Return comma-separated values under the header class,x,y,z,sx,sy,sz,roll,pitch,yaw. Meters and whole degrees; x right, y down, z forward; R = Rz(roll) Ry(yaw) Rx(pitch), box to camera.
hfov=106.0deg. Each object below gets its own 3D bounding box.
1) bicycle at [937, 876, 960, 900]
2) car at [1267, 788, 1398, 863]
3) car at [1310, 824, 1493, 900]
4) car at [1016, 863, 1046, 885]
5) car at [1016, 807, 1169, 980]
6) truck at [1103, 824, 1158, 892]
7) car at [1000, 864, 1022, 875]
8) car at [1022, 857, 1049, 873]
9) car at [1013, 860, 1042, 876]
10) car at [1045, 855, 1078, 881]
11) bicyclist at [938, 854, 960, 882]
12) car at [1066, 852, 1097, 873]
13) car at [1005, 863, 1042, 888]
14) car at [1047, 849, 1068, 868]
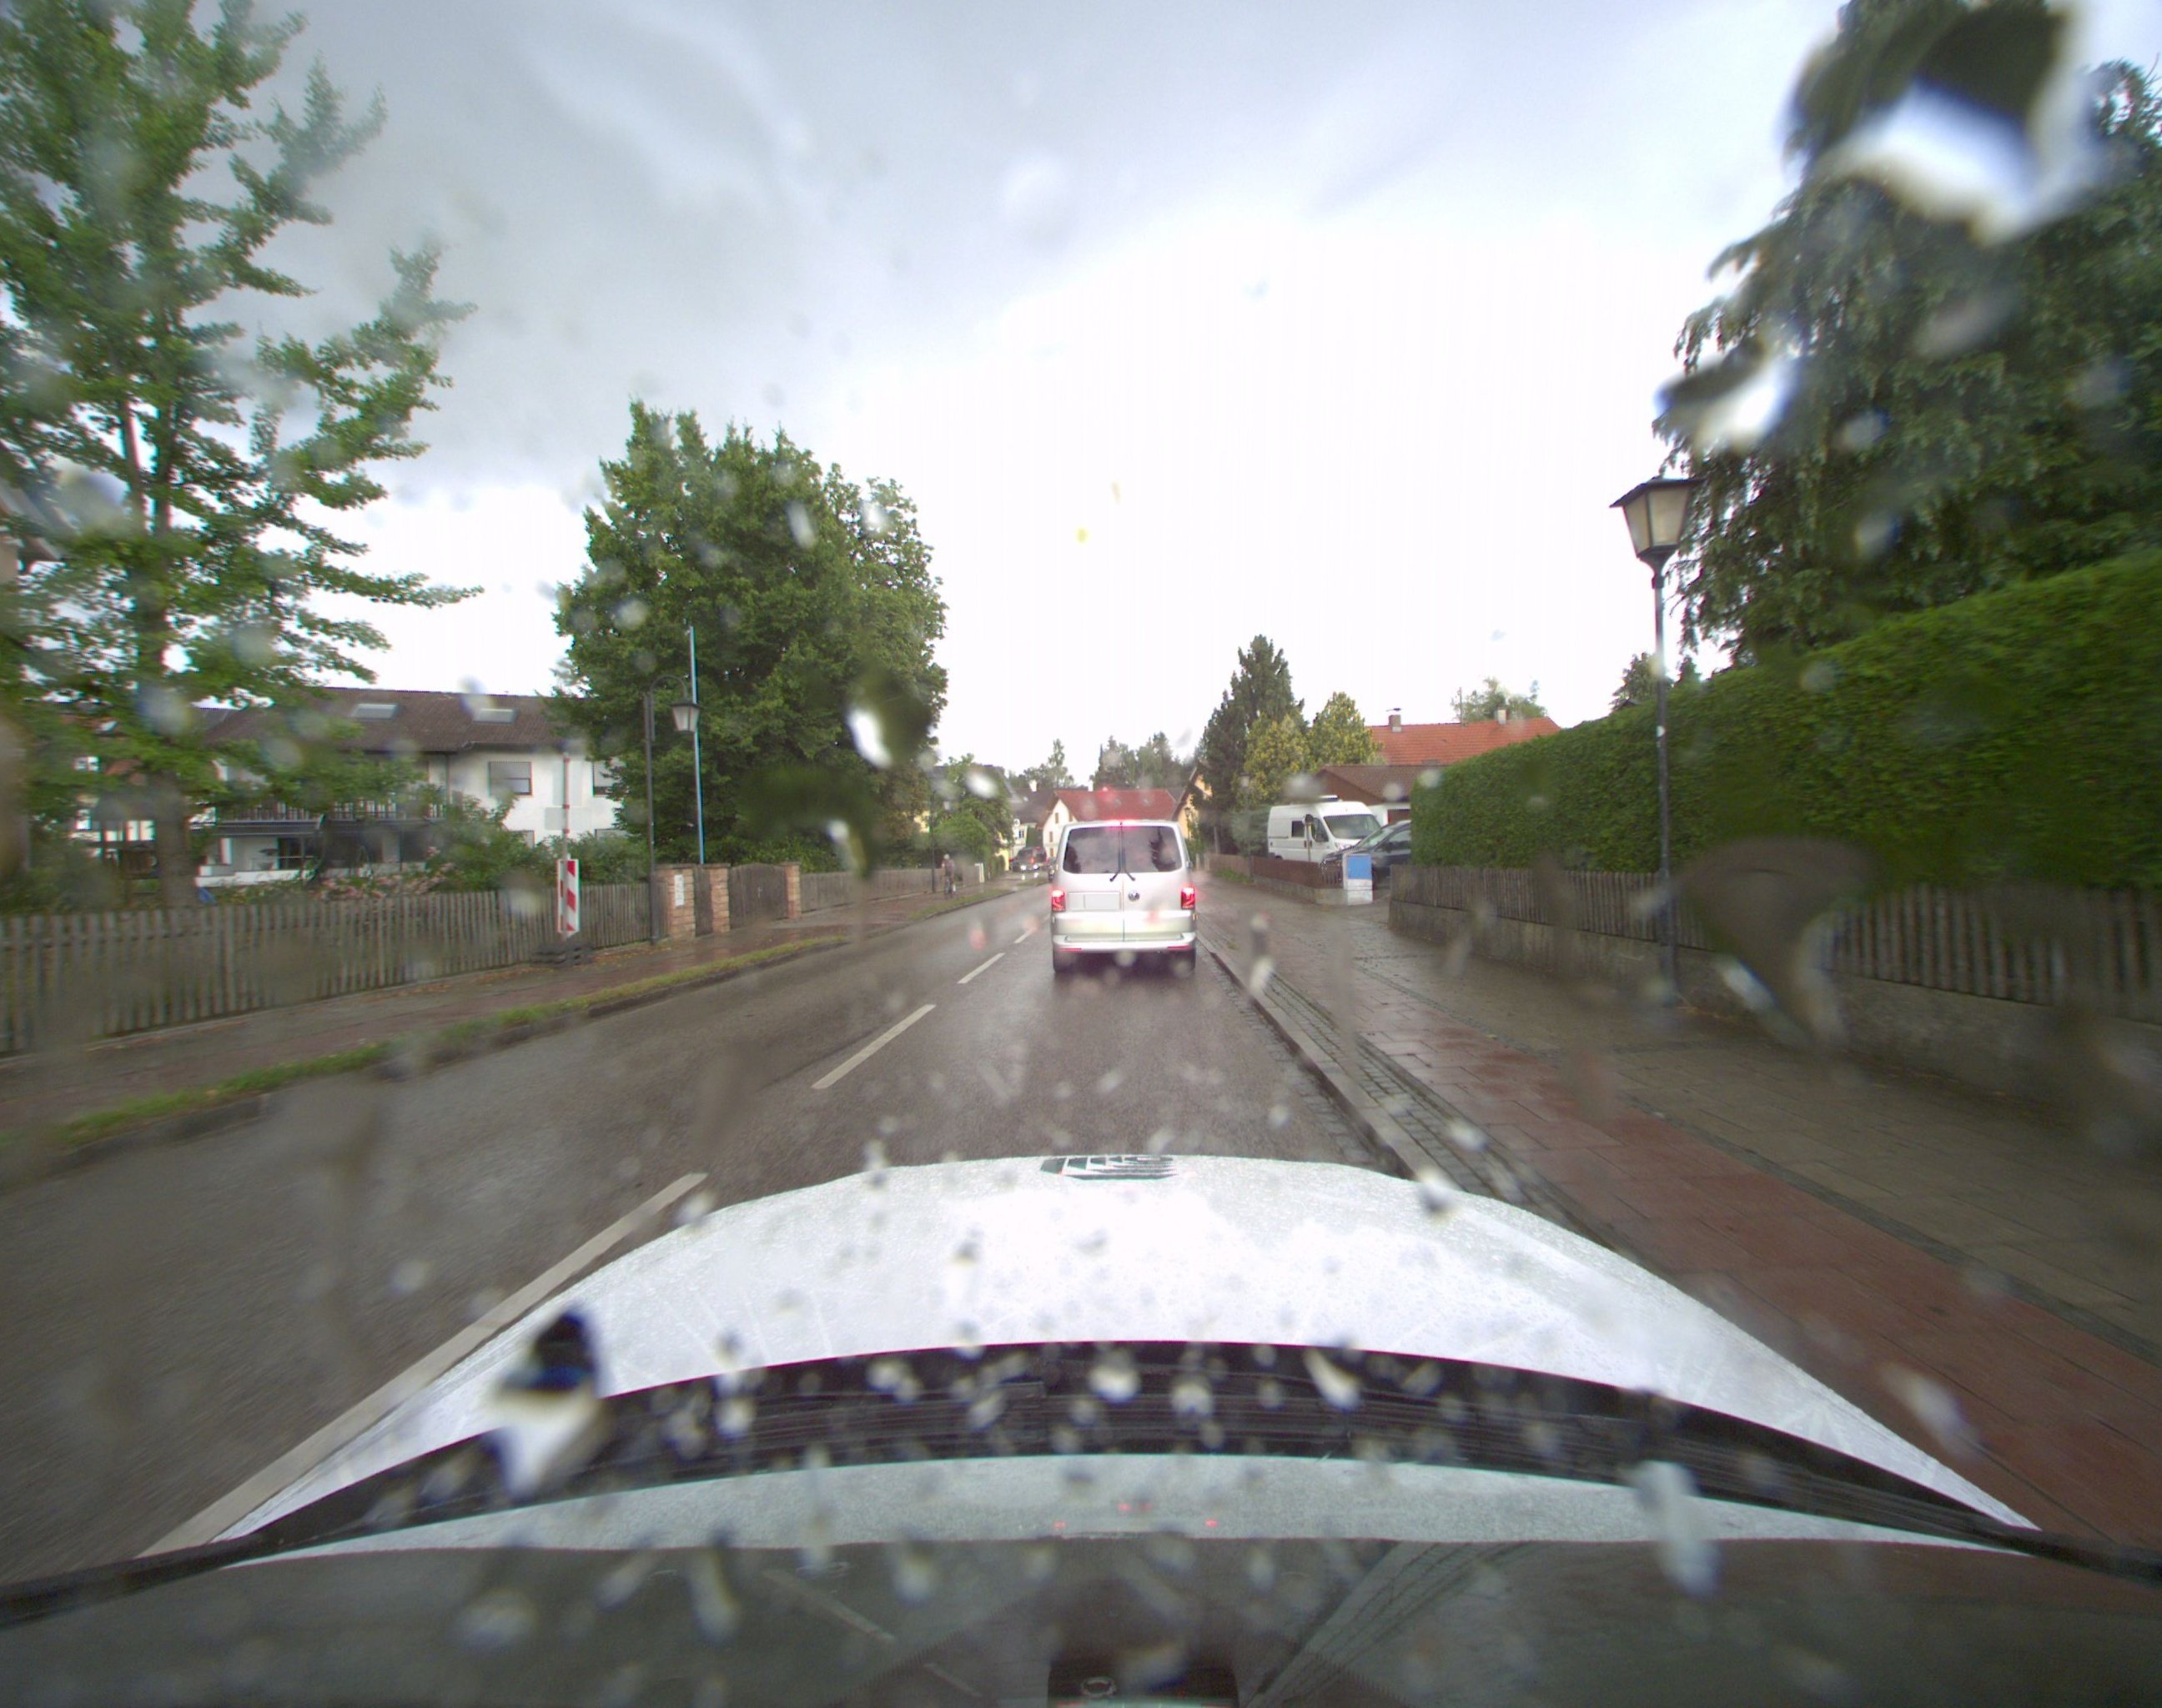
class,x,y,z,sx,sy,sz,roll,pitch,yaw
bicycle,-4.909,1.255,30.329,0.454,0.799,1.978,-1,0,2
car,7.955,-0.798,26.324,1.994,2.174,4.934,0,-1,-11
car,8.276,0.167,21.242,4.081,1.751,1.694,-2,2,-1
car,-3.434,1.388,56.119,1.611,1.444,3.673,-1,-1,3
car,0.313,0.493,11.581,1.792,2.014,4.005,0,-1,5
truck,2.368,0.231,39.816,2.466,3.074,6.299,0,-1,2
car,-9.121,2.011,105.758,1.789,1.310,3.744,0,-1,-25
car,-5.382,1.288,95.899,2.002,1.927,3.969,0,-1,-23
car,-5.778,1.515,87.408,2.000,1.703,3.972,0,-1,-20
car,-1.244,0.911,53.081,1.820,1.558,4.180,-2,-1,3
bicyclist,-4.922,0.505,30.390,0.585,1.021,1.061,-1,0,2
car,-0.003,0.843,81.621,1.999,2.014,3.975,0,-1,-18
car,-3.389,1.275,48.576,1.610,1.444,3.675,-1,-1,4
car,-2.585,0.481,89.702,1.992,2.014,3.990,0,-1,-7
